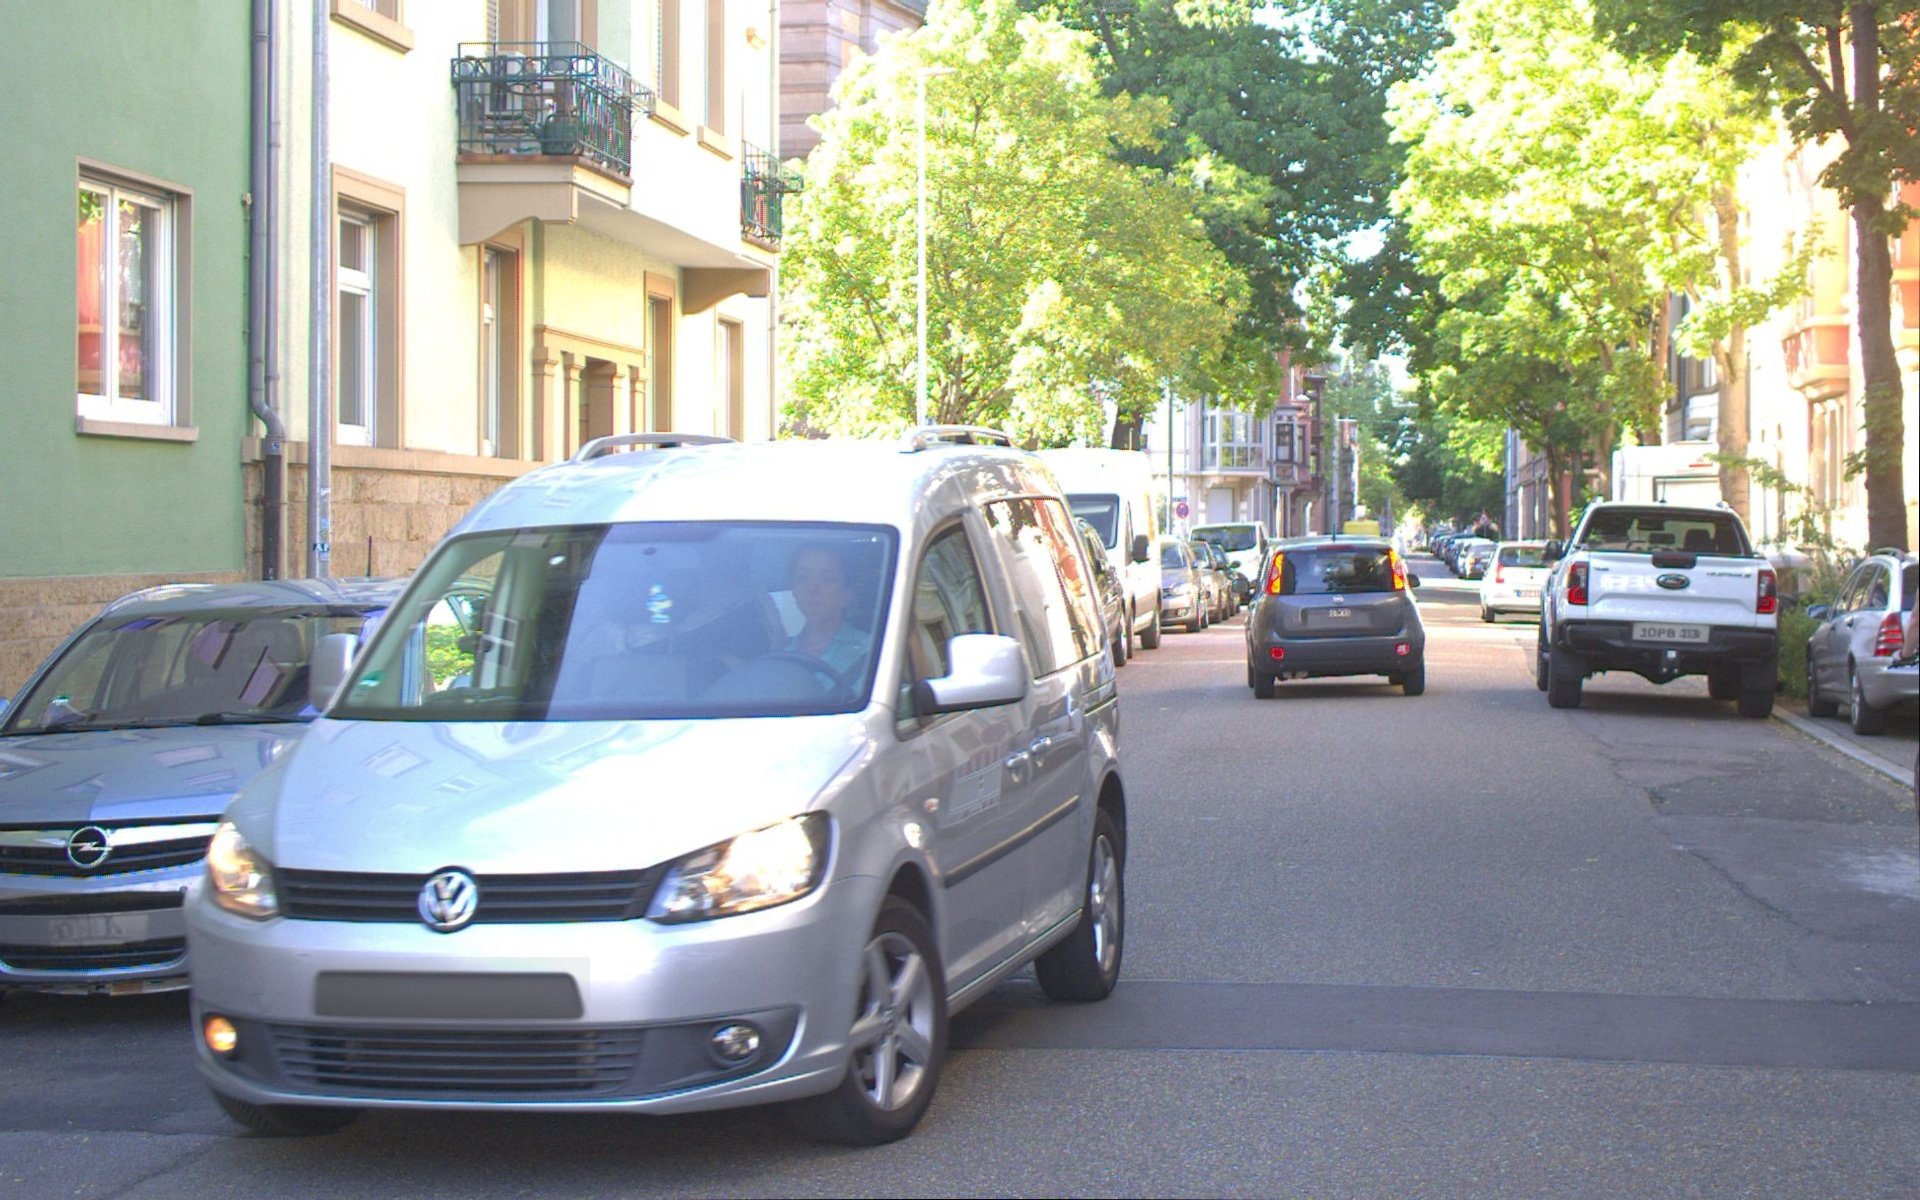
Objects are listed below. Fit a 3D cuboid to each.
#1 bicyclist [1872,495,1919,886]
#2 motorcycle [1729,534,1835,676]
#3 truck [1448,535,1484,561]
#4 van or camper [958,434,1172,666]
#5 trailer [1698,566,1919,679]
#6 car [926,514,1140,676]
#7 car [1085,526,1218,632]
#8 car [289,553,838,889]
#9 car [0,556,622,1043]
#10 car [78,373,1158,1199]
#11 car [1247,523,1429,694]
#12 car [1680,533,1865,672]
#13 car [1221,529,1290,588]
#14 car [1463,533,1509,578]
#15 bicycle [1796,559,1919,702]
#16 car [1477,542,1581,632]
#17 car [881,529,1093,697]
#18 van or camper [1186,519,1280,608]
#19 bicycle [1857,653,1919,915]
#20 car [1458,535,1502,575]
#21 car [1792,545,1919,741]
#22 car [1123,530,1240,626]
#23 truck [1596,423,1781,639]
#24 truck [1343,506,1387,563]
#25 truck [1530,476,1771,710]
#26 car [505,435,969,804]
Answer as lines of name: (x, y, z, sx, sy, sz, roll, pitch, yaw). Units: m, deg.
bicyclist: (4.501, 0.398, 15.227, 0.715, 1.683, 0.981, 3, 1, 9)
motorcycle: (8.883, 0.032, 37.227, 0.930, 1.481, 2.137, 1, 1, 9)
truck: (28.520, -2.929, 193.826, 1.994, 1.451, 3.999, 0, 1, 8)
van or camper: (1.460, -0.665, 44.947, 2.129, 2.759, 5.850, -2, 1, 8)
trailer: (8.779, 0.222, 35.307, 2.080, 1.108, 1.116, 1, 1, -6)
car: (0.910, -0.105, 39.210, 1.876, 1.679, 4.968, -2, 1, 7)
car: (3.141, -0.373, 55.668, 1.781, 1.585, 4.468, -2, 1, 7)
car: (-1.898, 0.532, 17.888, 1.833, 1.457, 4.362, -2, 1, 7)
car: (-2.562, 0.604, 12.909, 1.720, 1.457, 4.506, -2, 1, 5)
car: (-0.677, 0.408, 9.920, 1.772, 1.837, 4.414, -2, 1, 12)
car: (3.704, 0.040, 33.326, 1.633, 1.545, 3.263, 1, 1, 8)
car: (9.558, -0.015, 40.740, 1.751, 1.524, 4.780, -1, 1, 9)
car: (8.464, -1.192, 98.176, 1.825, 1.548, 4.133, -4, 1, 6)
car: (20.064, -1.714, 131.019, 1.663, 1.663, 3.756, 1, 1, 9)
bicycle: (8.636, 0.274, 31.628, 1.759, 1.300, 0.586, 0, 1, 6)
car: (10.416, -0.263, 63.079, 1.679, 1.539, 3.799, 1, 1, 7)
car: (0.329, 0.102, 34.174, 1.635, 1.546, 4.088, -1, 0, 7)
van or camper: (6.583, -0.896, 82.474, 1.922, 1.973, 5.460, -3, 1, 7)
bicycle: (4.470, 0.803, 15.228, 0.706, 1.042, 1.857, 4, 1, 8)
car: (20.509, -1.789, 135.494, 1.663, 1.500, 3.756, 1, 1, 9)
car: (7.841, 0.280, 27.772, 1.680, 1.417, 4.429, -1, 1, 7)
car: (4.021, -0.424, 61.809, 1.676, 1.567, 4.150, -3, 1, 9)
truck: (10.811, -1.037, 51.398, 2.074, 2.958, 6.108, -2, 1, 7)
truck: (21.973, -3.554, 186.363, 2.071, 2.916, 5.066, -4, 1, 9)
truck: (6.263, -0.122, 31.696, 1.829, 1.942, 5.539, 1, 1, 8)
car: (-1.354, 0.082, 23.497, 2.252, 2.161, 5.242, -2, 1, 6)
